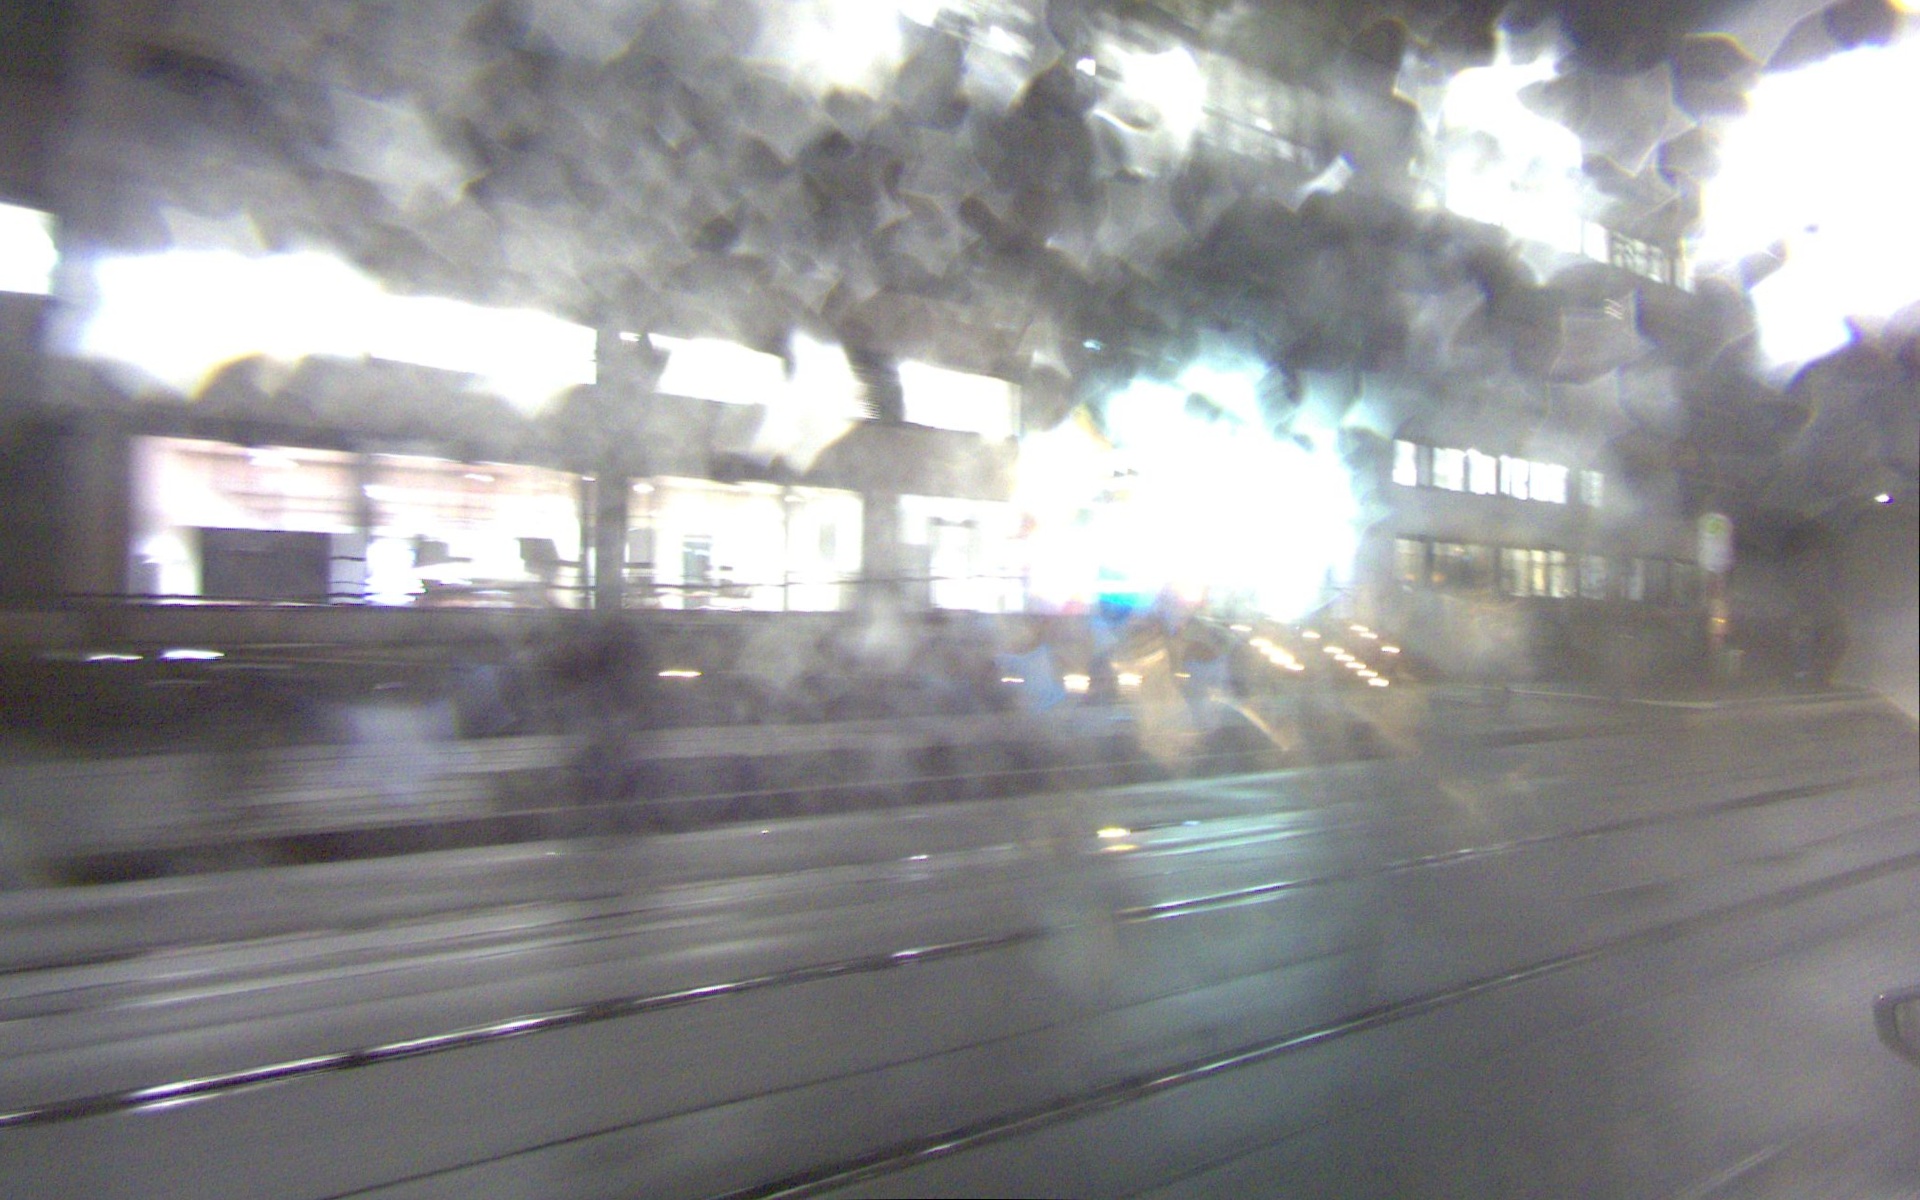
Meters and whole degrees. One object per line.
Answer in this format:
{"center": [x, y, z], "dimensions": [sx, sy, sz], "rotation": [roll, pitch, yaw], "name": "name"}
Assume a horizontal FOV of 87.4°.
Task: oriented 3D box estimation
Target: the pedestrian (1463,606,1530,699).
{"center": [10.196, 0.986, 19.099], "dimensions": [0.872, 1.709, 0.782], "rotation": [1, -1, -30], "name": "pedestrian"}

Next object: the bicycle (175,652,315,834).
{"center": [-5.194, 0.967, 7.392], "dimensions": [0.620, 1.092, 1.845], "rotation": [1, -1, -29], "name": "bicycle"}
